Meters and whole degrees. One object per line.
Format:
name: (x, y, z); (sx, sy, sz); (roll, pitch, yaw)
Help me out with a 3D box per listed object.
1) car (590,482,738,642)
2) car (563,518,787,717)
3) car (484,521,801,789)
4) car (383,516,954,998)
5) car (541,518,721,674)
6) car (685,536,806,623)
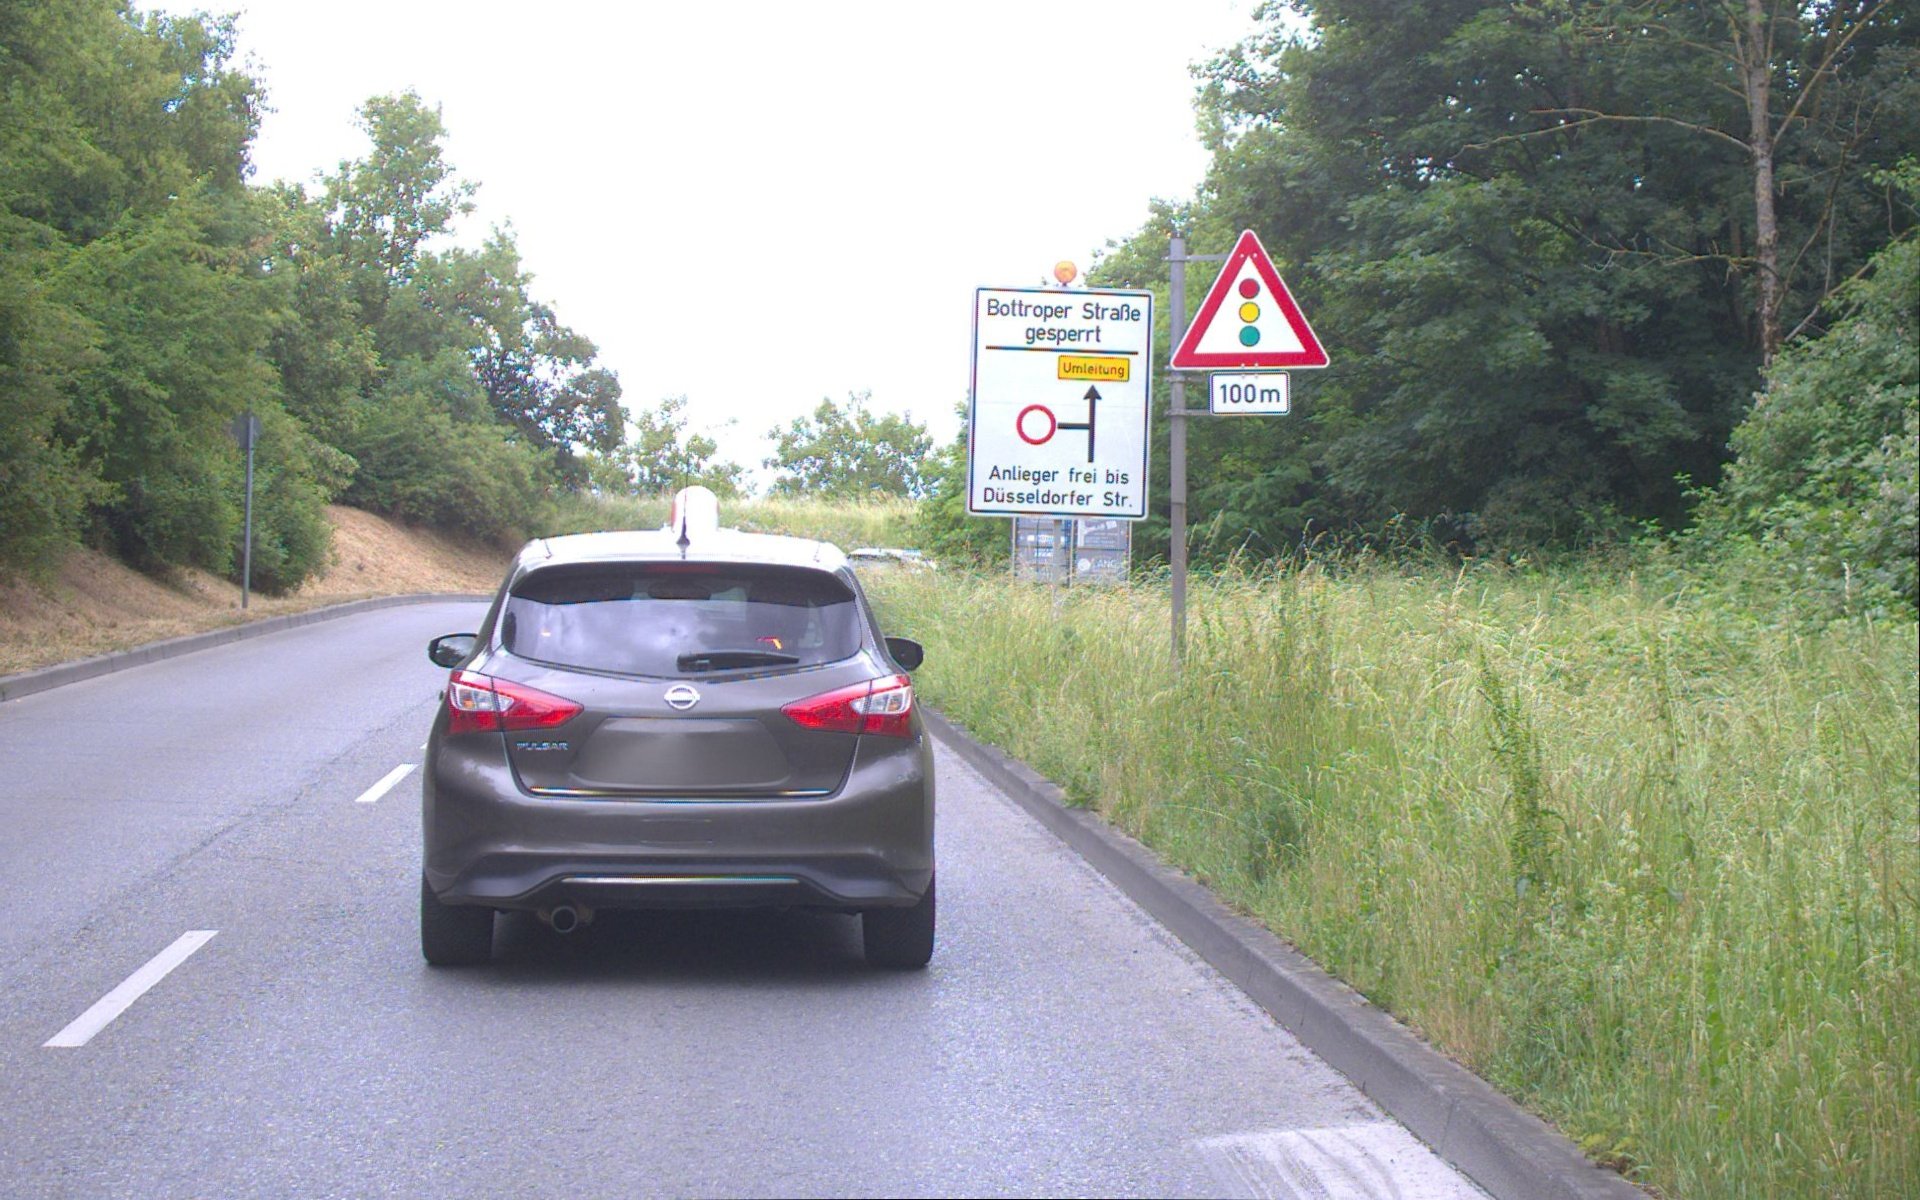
car: (-3.680, -0.498, 43.215); (1.736, 1.928, 3.544); (0, 1, -3)
car: (-2.325, 0.098, 28.569); (1.736, 1.551, 3.544); (0, 1, -3)
car: (-1.948, 0.279, 21.792); (1.830, 1.551, 3.625); (0, 1, -3)
car: (-1.072, 0.476, 12.893); (1.830, 1.551, 3.500); (1, 1, -4)
car: (-3.397, -0.083, 35.986); (1.736, 1.551, 3.544); (0, 1, -3)
car: (-3.876, -0.401, 62.711); (1.736, 1.521, 3.641); (0, 1, 4)
